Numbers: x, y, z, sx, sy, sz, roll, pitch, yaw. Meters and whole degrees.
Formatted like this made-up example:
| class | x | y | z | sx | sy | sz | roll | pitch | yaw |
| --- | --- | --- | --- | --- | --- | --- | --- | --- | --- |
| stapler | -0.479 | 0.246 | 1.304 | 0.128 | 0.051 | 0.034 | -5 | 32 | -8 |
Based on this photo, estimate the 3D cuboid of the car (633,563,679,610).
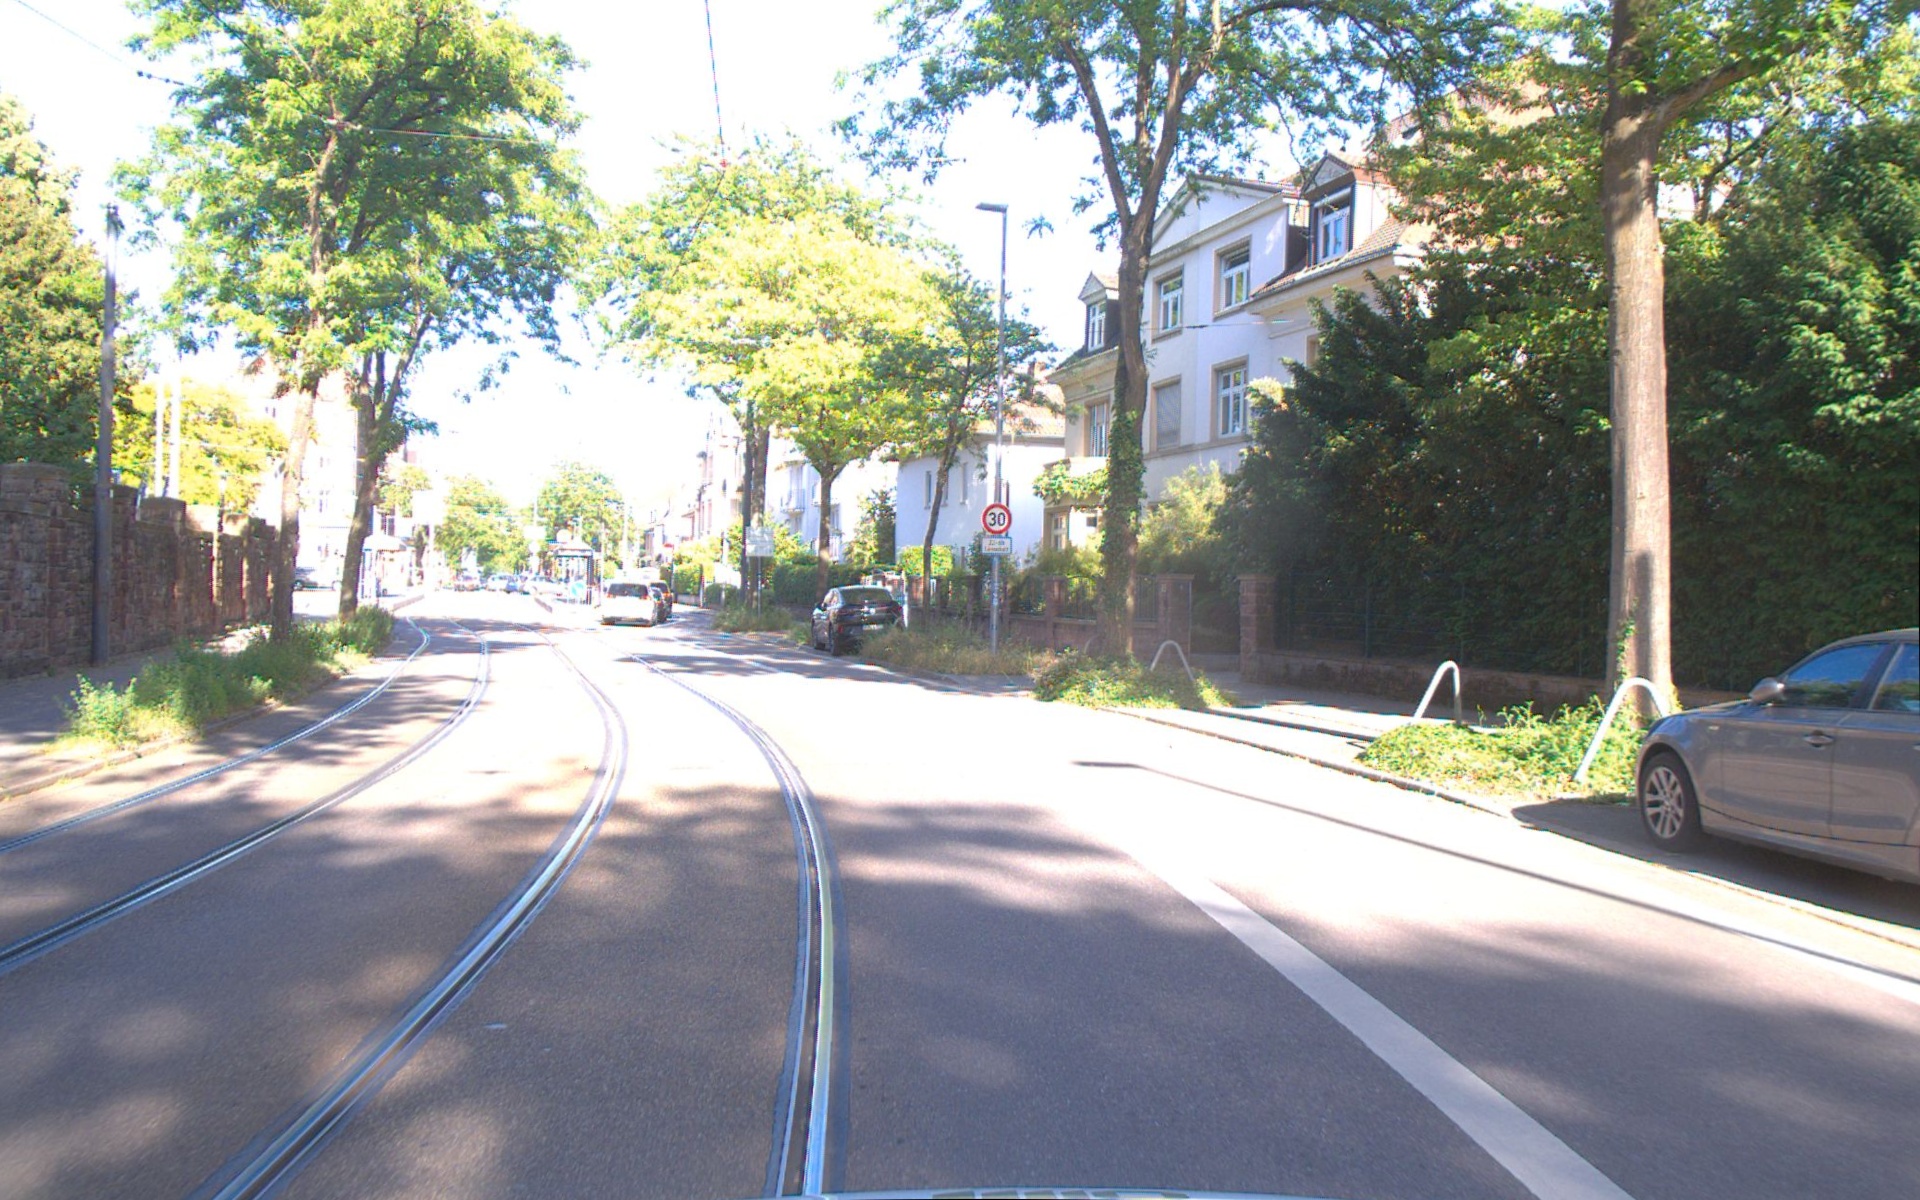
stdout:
| class | x | y | z | sx | sy | sz | roll | pitch | yaw |
| --- | --- | --- | --- | --- | --- | --- | --- | --- | --- |
| car | -13.621 | -0.610 | 74.240 | 1.676 | 2.049 | 3.902 | 1 | 1 | -6 |

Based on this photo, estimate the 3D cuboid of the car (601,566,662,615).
| class | x | y | z | sx | sy | sz | roll | pitch | yaw |
| --- | --- | --- | --- | --- | --- | --- | --- | --- | --- |
| car | -11.947 | -0.317 | 60.355 | 1.857 | 1.639 | 4.221 | 1 | -1 | -7 |

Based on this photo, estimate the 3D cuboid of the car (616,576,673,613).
| class | x | y | z | sx | sy | sz | roll | pitch | yaw |
| --- | --- | --- | --- | --- | --- | --- | --- | --- | --- |
| car | -12.958 | -0.256 | 68.106 | 1.955 | 1.467 | 3.995 | 1 | 1 | -6 |

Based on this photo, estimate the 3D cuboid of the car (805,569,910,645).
| class | x | y | z | sx | sy | sz | roll | pitch | yaw |
| --- | --- | --- | --- | --- | --- | --- | --- | --- | --- |
| car | -2.665 | 0.124 | 41.952 | 1.774 | 1.723 | 4.712 | -3 | 2 | -14 |

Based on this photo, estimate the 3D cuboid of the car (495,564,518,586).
| class | x | y | z | sx | sy | sz | roll | pitch | yaw |
| --- | --- | --- | --- | --- | --- | --- | --- | --- | --- |
| car | -42.812 | -2.350 | 156.109 | 1.960 | 1.947 | 3.985 | 1 | 0 | -14 |

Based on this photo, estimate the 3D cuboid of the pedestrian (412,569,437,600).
| class | x | y | z | sx | sy | sz | roll | pitch | yaw |
| --- | --- | --- | --- | --- | --- | --- | --- | --- | --- |
| pedestrian | -35.744 | -1.060 | 110.466 | 1.132 | 2.049 | 1.119 | 1 | 0 | 21 |

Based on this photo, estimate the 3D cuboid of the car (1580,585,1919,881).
| class | x | y | z | sx | sy | sz | roll | pitch | yaw |
| --- | --- | --- | --- | --- | --- | --- | --- | --- | --- |
| car | 5.506 | 0.654 | 9.129 | 1.958 | 1.448 | 4.321 | 0 | 0 | -11 |
